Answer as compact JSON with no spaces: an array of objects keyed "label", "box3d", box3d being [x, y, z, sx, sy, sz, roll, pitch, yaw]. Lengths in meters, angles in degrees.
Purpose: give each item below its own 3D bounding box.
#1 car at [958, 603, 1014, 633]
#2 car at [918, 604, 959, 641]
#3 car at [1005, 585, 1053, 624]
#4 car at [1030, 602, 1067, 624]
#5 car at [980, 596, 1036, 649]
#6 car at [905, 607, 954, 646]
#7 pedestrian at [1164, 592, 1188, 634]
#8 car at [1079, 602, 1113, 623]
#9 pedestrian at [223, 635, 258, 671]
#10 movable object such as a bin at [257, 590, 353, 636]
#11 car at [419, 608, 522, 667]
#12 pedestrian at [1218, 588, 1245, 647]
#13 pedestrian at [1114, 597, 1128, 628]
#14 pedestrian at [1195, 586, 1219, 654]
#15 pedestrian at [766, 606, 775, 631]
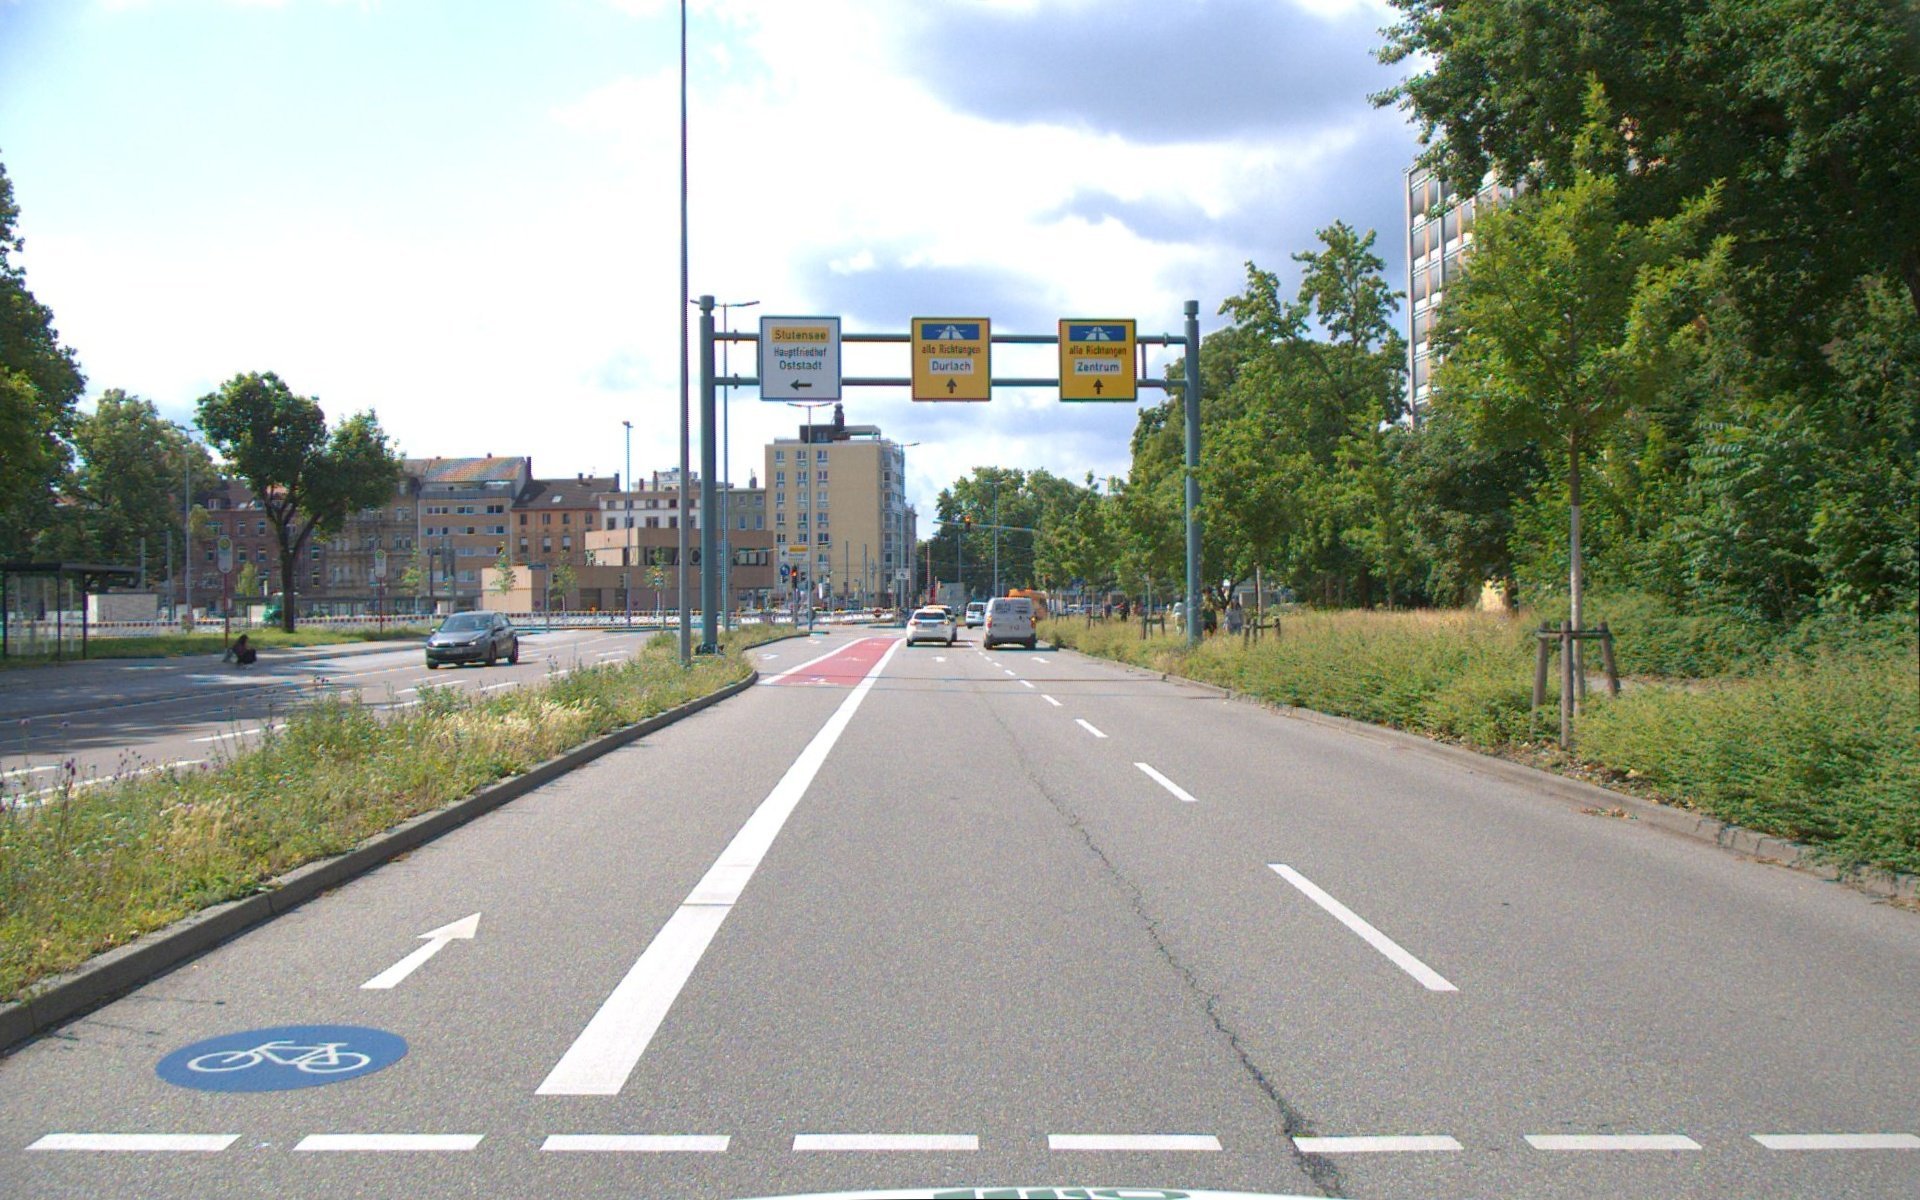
[{"label":"car","box3d":[1.782,1.248,112.058,1.958,1.847,3.989,2,-1,33]},{"label":"car","box3d":[-0.957,0.990,73.985,1.754,1.566,4.010,1,0,-1]},{"label":"car","box3d":[5.201,0.310,123.415,2.086,2.829,4.638,-1,-1,22]},{"label":"car","box3d":[8.244,1.172,152.889,1.965,2.001,4.638,-1,-1,22]},{"label":"car","box3d":[1.756,0.813,62.286,1.902,1.903,4.824,0,0,-1]},{"label":"car","box3d":[-1.194,1.018,65.305,1.865,1.449,4.384,0,0,0]},{"label":"pedestrian","box3d":[8.634,0.536,66.144,0.850,1.667,0.721,0,-1,0]},{"label":"car","box3d":[12.587,1.139,153.140,1.953,1.858,3.998,-1,-1,24]},{"label":"pedestrian","box3d":[-20.047,1.460,46.099,0.680,0.980,0.742,0,0,-3]},{"label":"movable object such as a bin","box3d":[-43.125,0.866,109.047,2.247,2.935,5.509,-1,-1,42]},{"label":"car","box3d":[-13.254,0.978,45.007,1.666,1.470,4.144,-2,0,-2]},{"label":"pedestrian","box3d":[7.469,0.471,45.556,0.610,1.608,0.708,0,0,-2]},{"label":"pedestrian","box3d":[9.295,0.697,95.426,0.727,1.766,0.679,0,-1,2]},{"label":"pedestrian","box3d":[6.770,0.543,45.342,0.555,1.833,0.638,0,0,-2]},{"label":"pedestrian","box3d":[-13.476,1.293,117.473,0.513,1.764,0.624,0,0,8]}]
